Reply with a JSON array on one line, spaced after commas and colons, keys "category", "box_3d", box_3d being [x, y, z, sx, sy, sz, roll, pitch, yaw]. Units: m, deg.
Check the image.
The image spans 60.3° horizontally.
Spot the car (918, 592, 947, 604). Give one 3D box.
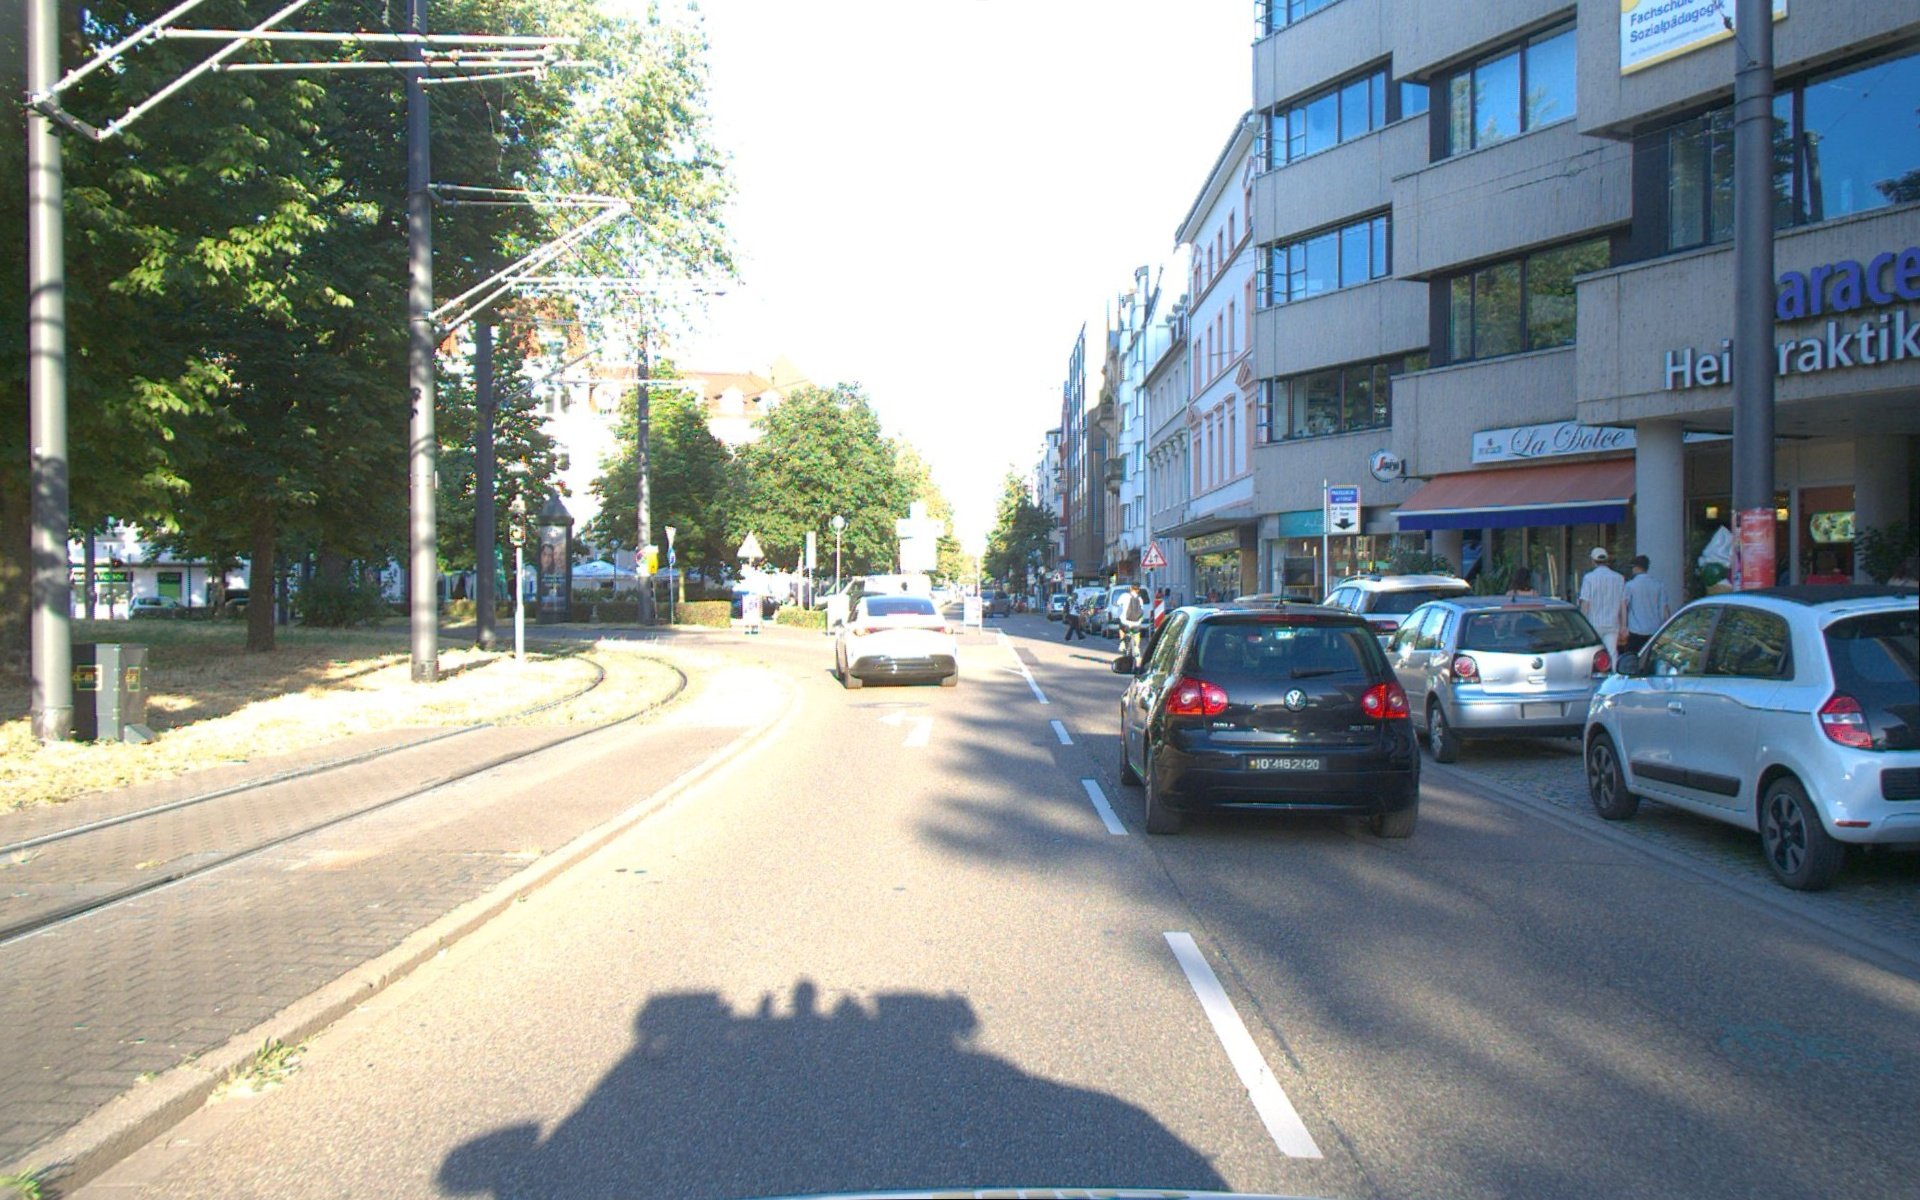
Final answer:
[{"category": "car", "box_3d": [-3.398, -0.254, 204.670, 3.322, 1.310, 1.666, 1, 1, -15]}]

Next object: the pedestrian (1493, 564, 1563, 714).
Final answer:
[{"category": "pedestrian", "box_3d": [7.008, 0.474, 20.415, 0.567, 1.790, 0.662, -3, 0, 1]}]

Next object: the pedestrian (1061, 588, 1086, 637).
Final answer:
[{"category": "pedestrian", "box_3d": [3.732, 0.403, 54.208, 0.720, 1.582, 0.632, 0, 0, 14]}]

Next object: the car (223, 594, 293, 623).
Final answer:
[{"category": "car", "box_3d": [-39.118, 0.464, 92.271, 3.563, 1.579, 1.651, 0, 0, -23]}]

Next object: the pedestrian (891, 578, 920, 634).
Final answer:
[{"category": "pedestrian", "box_3d": [-1.710, 0.188, 51.942, 0.843, 1.736, 0.940, 1, 0, -6]}]

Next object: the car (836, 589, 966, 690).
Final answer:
[{"category": "car", "box_3d": [-1.057, 0.600, 27.476, 1.829, 1.466, 4.192, -3, 0, -6]}]

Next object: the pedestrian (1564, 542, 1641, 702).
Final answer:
[{"category": "pedestrian", "box_3d": [7.845, 0.262, 20.204, 0.609, 1.890, 0.662, -3, 0, 1]}]

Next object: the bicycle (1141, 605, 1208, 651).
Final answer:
[{"category": "bicycle", "box_3d": [5.525, 0.722, 42.559, 1.574, 1.138, 0.610, -2, 1, 34]}]

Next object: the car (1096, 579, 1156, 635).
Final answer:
[{"category": "car", "box_3d": [5.809, 0.230, 58.194, 1.699, 1.831, 3.916, -2, 0, 0]}]

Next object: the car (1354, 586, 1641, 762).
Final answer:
[{"category": "car", "box_3d": [5.167, 0.632, 16.423, 1.628, 1.466, 3.856, -3, 1, 1]}]

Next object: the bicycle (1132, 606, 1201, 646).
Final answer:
[{"category": "bicycle", "box_3d": [5.817, 0.736, 46.592, 1.812, 1.063, 0.580, -2, 1, 31]}]

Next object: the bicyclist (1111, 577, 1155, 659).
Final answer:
[{"category": "bicyclist", "box_3d": [3.515, 0.359, 33.702, 0.761, 1.646, 1.025, 1, 0, 0]}]

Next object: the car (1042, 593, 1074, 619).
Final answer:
[{"category": "car", "box_3d": [6.028, 0.360, 102.159, 1.716, 1.537, 3.544, -2, 0, -1]}]

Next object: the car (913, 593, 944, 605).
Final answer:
[{"category": "car", "box_3d": [-3.767, -0.131, 196.859, 3.322, 1.310, 1.666, 1, 1, -15]}]

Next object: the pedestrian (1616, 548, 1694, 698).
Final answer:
[{"category": "pedestrian", "box_3d": [8.497, 0.275, 20.234, 0.609, 1.770, 0.662, -3, 0, 1]}]

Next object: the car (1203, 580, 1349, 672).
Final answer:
[{"category": "car", "box_3d": [5.604, 0.419, 29.759, 1.629, 1.466, 3.820, -3, 1, -4]}]

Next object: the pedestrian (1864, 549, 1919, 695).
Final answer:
[{"category": "pedestrian", "box_3d": [11.409, 0.252, 19.673, 0.635, 1.702, 0.978, -1, 0, -38]}]

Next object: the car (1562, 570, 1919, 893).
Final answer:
[{"category": "car", "box_3d": [5.212, 0.641, 10.210, 1.575, 1.583, 3.610, -3, 0, -1]}]

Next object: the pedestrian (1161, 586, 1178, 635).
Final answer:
[{"category": "pedestrian", "box_3d": [7.135, 0.361, 56.325, 0.491, 1.653, 0.496, 1, 0, 0]}]

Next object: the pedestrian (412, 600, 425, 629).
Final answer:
[{"category": "pedestrian", "box_3d": [-28.204, 0.757, 86.166, 0.524, 1.524, 0.659, 0, 0, -7]}]

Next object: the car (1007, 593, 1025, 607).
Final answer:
[{"category": "car", "box_3d": [6.140, -0.023, 182.361, 1.716, 1.537, 3.544, -2, 0, -1]}]

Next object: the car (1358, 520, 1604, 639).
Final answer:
[{"category": "car", "box_3d": [11.716, -0.486, 37.167, 5.250, 2.485, 2.075, -2, 0, -26]}]

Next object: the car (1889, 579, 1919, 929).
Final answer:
[{"category": "car", "box_3d": [5.165, 0.683, 5.526, 1.745, 1.583, 4.235, -3, 1, 1]}]

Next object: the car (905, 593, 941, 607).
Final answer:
[{"category": "car", "box_3d": [-3.676, 0.017, 165.743, 3.322, 1.310, 1.666, 1, 1, -15]}]

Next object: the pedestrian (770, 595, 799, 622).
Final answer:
[{"category": "pedestrian", "box_3d": [-8.081, 0.392, 76.229, 1.083, 1.248, 0.853, 1, 0, -26]}]

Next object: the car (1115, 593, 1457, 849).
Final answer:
[{"category": "car", "box_3d": [2.120, 0.708, 11.846, 1.711, 1.486, 4.104, 0, 0, 1]}]

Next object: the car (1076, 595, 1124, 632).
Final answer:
[{"category": "car", "box_3d": [5.838, 0.541, 69.405, 1.699, 1.488, 3.585, -2, 0, 0]}]

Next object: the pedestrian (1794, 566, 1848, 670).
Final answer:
[{"category": "pedestrian", "box_3d": [14.099, 0.288, 27.097, 0.589, 1.678, 0.518, 1, 0, -23]}]

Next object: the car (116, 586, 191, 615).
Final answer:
[{"category": "car", "box_3d": [-43.959, 0.030, 90.208, 3.563, 1.579, 1.651, 0, 0, -23]}]

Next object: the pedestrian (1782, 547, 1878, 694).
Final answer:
[{"category": "pedestrian", "box_3d": [10.685, 0.236, 20.306, 1.022, 1.757, 0.690, -1, 0, -39]}]

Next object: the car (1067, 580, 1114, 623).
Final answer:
[{"category": "car", "box_3d": [5.980, 0.078, 76.004, 1.885, 1.873, 4.018, -2, 0, 1]}]

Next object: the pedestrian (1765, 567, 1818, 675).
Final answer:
[{"category": "pedestrian", "box_3d": [13.870, 0.349, 27.605, 0.589, 1.790, 0.518, 1, 0, -23]}]

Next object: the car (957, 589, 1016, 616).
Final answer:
[{"category": "car", "box_3d": [1.798, 0.152, 111.488, 1.964, 1.803, 3.977, 1, 1, 41]}]

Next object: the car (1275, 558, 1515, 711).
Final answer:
[{"category": "car", "box_3d": [5.611, 0.393, 21.951, 1.830, 1.743, 4.504, -3, 1, -2]}]

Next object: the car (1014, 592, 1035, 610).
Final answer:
[{"category": "car", "box_3d": [5.824, 0.082, 149.612, 1.716, 1.537, 3.544, -2, 0, -1]}]

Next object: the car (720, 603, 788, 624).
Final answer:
[{"category": "car", "box_3d": [-13.118, 0.842, 105.333, 3.933, 1.324, 1.840, 0, 0, -23]}]

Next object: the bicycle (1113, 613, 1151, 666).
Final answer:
[{"category": "bicycle", "box_3d": [3.499, 0.793, 33.745, 0.567, 1.004, 1.935, 1, 0, 0]}]

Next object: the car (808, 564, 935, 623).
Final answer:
[{"category": "car", "box_3d": [-4.043, -0.283, 75.762, 5.444, 2.640, 2.137, 0, 0, -26]}]

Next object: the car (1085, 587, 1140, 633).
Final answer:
[{"category": "car", "box_3d": [5.799, 0.370, 63.292, 1.699, 1.645, 3.916, -2, 0, 0]}]

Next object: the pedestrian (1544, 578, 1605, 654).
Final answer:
[{"category": "pedestrian", "box_3d": [10.846, 0.281, 29.204, 0.757, 1.304, 0.656, -2, 0, -28]}]
